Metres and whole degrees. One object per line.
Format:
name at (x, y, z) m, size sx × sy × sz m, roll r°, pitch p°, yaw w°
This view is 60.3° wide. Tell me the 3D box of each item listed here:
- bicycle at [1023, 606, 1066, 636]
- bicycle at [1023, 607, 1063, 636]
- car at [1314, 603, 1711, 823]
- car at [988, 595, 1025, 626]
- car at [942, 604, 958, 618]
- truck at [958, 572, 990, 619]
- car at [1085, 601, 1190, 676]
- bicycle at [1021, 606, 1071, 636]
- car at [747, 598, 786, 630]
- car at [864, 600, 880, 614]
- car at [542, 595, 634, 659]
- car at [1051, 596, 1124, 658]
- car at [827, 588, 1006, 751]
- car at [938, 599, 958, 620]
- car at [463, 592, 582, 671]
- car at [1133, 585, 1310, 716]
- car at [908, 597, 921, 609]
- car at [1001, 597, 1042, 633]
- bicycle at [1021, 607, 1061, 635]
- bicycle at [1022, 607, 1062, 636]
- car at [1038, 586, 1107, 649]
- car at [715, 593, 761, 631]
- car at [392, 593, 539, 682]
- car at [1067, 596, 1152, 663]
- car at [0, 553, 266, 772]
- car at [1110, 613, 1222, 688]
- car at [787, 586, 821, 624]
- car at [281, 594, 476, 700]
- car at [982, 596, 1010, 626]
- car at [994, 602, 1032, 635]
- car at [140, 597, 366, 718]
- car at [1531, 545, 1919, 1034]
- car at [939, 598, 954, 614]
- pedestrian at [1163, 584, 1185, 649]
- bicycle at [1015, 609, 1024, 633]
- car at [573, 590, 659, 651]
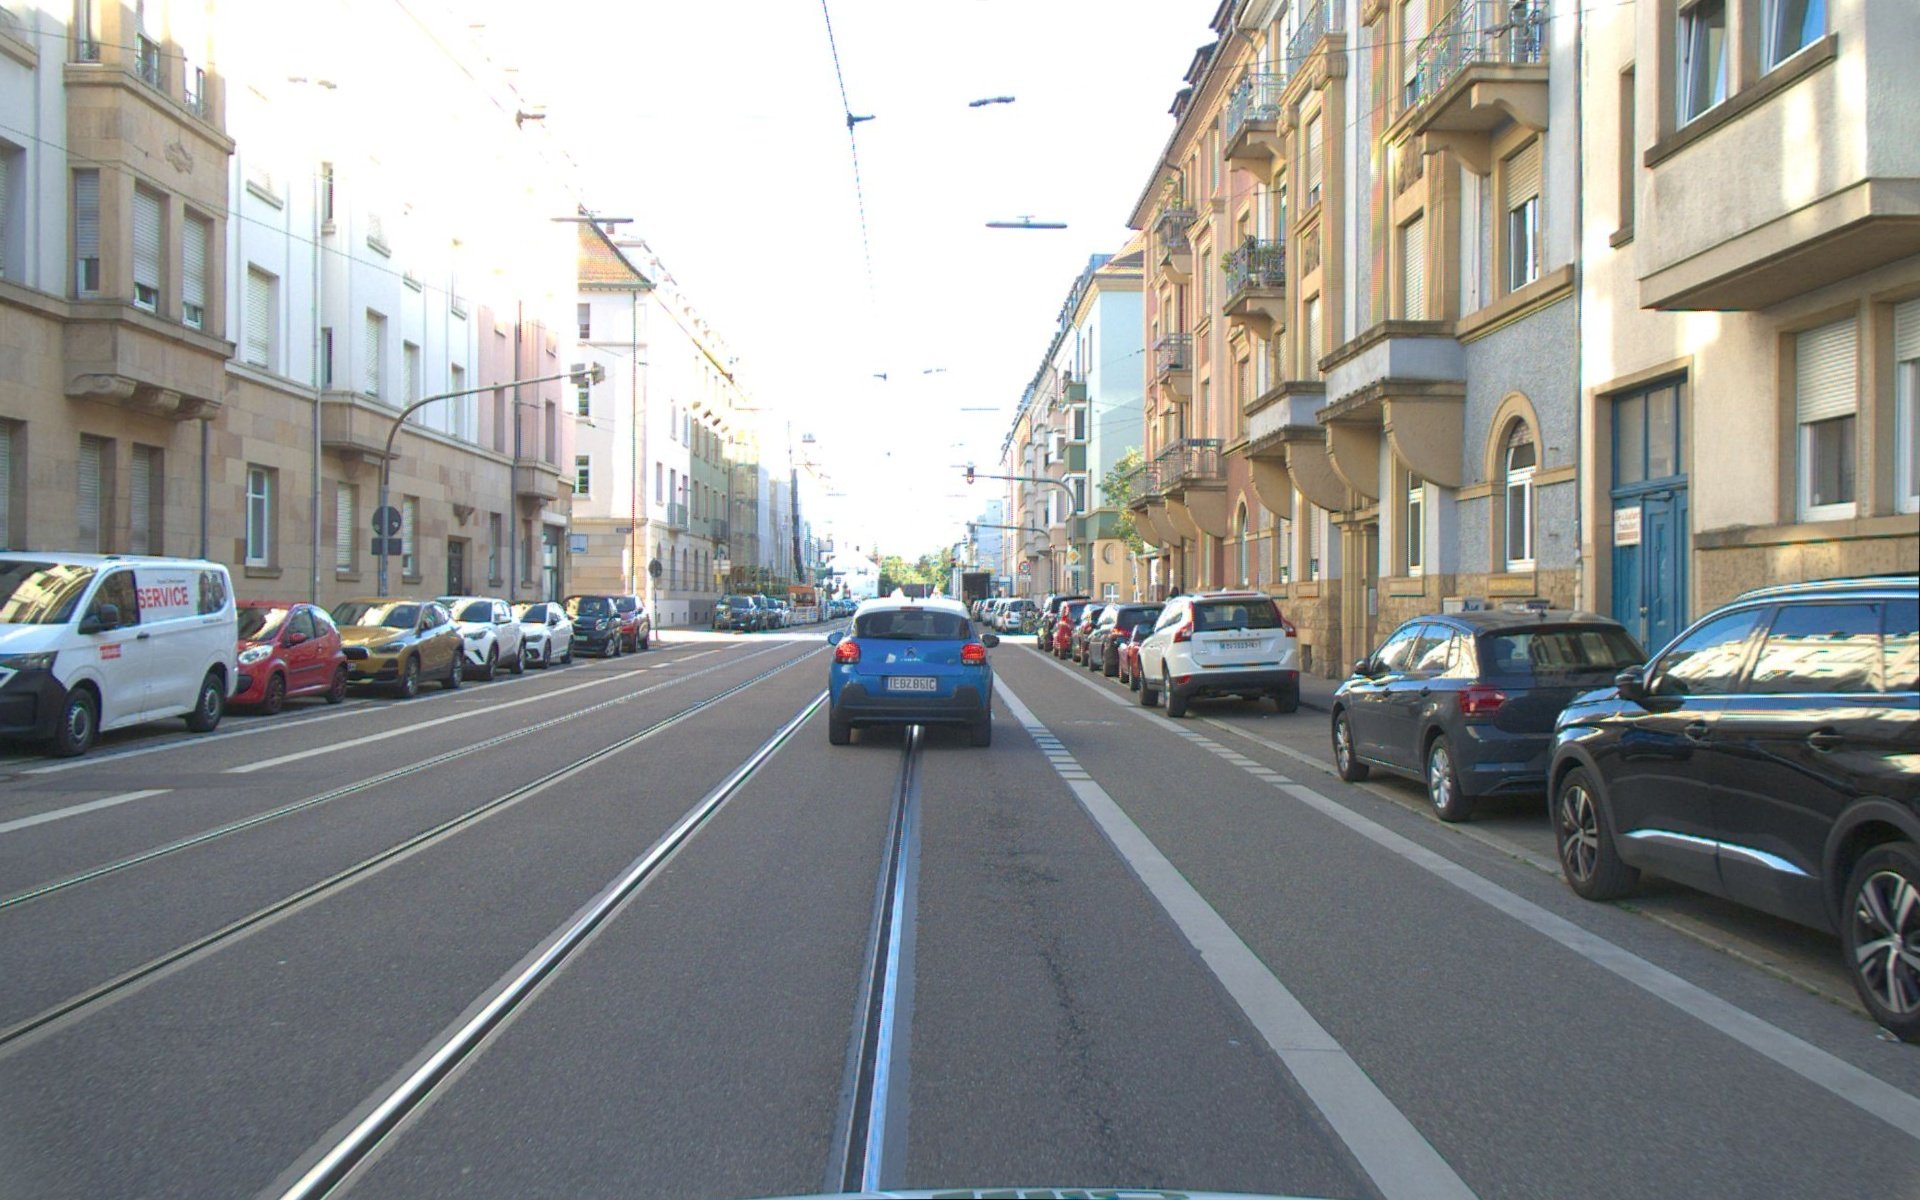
bicycle at (3.657, 0.922, 71.709) m, size 1.805 × 1.174 × 0.469 m, roll -3°, pitch 0°, yaw -1°
bicycle at (3.652, 0.935, 72.946) m, size 1.688 × 1.174 × 0.469 m, roll -3°, pitch 0°, yaw -1°
car at (4.155, 0.766, 13.146) m, size 1.702 × 1.467 × 4.031 m, roll 0°, pitch 0°, yaw -2°
car at (2.672, 0.591, 95.546) m, size 1.622 × 1.782 × 4.598 m, roll 0°, pitch 0°, yaw -5°
car at (-1.083, 1.189, 182.946) m, size 1.729 × 1.513 × 4.031 m, roll 0°, pitch 0°, yaw -1°
truck at (1.247, -0.373, 149.736) m, size 2.794 × 4.154 × 11.270 m, roll 0°, pitch 0°, yaw 0°
car at (3.729, 0.774, 35.464) m, size 1.621 × 1.509 × 4.472 m, roll 0°, pitch 0°, yaw -2°
bicycle at (3.688, 0.886, 71.018) m, size 2.044 × 1.174 × 0.848 m, roll -3°, pitch 0°, yaw -1°
car at (-10.534, 0.742, 90.248) m, size 1.748 × 1.655 × 4.606 m, roll 2°, pitch 0°, yaw -3°
car at (-10.529, 0.801, 198.381) m, size 1.789 × 1.660 × 4.489 m, roll 0°, pitch 0°, yaw -1°
car at (-9.799, 0.699, 43.775) m, size 1.747 × 1.580 × 3.018 m, roll 2°, pitch 0°, yaw -1°
car at (3.441, 0.701, 45.145) m, size 1.717 × 1.622 × 3.729 m, roll 0°, pitch 0°, yaw 0°
car at (-0.451, 0.679, 18.185) m, size 1.700 × 1.534 × 3.991 m, roll 2°, pitch 0°, yaw -1°
car at (-1.155, 0.891, 155.245) m, size 1.784 × 1.927 × 3.999 m, roll 1°, pitch 0°, yaw -1°
car at (-9.939, 0.680, 37.881) m, size 1.748 × 1.650 × 4.177 m, roll 2°, pitch 0°, yaw -3°
car at (3.670, 0.660, 23.995) m, size 1.805 × 1.720 × 4.504 m, roll 0°, pitch 0°, yaw -1°
car at (-6.475, 0.482, 236.761) m, size 1.789 × 1.660 × 4.489 m, roll 0°, pitch 0°, yaw -1°
car at (2.903, 0.692, 78.863) m, size 1.747 × 1.660 × 3.999 m, roll 0°, pitch 0°, yaw -1°
bicycle at (3.661, 0.950, 74.795) m, size 1.688 × 1.174 × 0.469 m, roll -3°, pitch 0°, yaw -1°
bicycle at (3.627, 0.950, 73.405) m, size 1.688 × 1.174 × 0.469 m, roll -3°, pitch 0°, yaw -1°
car at (3.457, 0.528, 51.631) m, size 1.718 × 1.766 × 4.506 m, roll -3°, pitch 0°, yaw -1°
car at (-10.530, 0.556, 78.666) m, size 1.748 × 1.720 × 4.665 m, roll 2°, pitch 0°, yaw -3°
car at (-9.673, 0.685, 32.675) m, size 1.736 × 1.574 × 4.363 m, roll 2°, pitch 0°, yaw -3°
car at (3.607, 0.686, 40.557) m, size 1.621 × 1.539 × 4.473 m, roll 0°, pitch 0°, yaw -1°
car at (-9.443, 0.540, 17.656) m, size 1.933 × 1.983 × 5.250 m, roll 2°, pitch 0°, yaw -2°
car at (3.763, 0.887, 30.830) m, size 1.620 × 1.271 × 4.505 m, roll 0°, pitch 0°, yaw 1°
car at (-10.694, 0.326, 113.672) m, size 2.102 × 2.519 × 4.977 m, roll 0°, pitch 0°, yaw -3°
car at (-9.461, 0.709, 27.286) m, size 1.747 × 1.550 × 4.358 m, roll 2°, pitch 0°, yaw -2°
car at (2.333, 0.711, 107.925) m, size 1.695 × 1.859 × 4.685 m, roll 0°, pitch 0°, yaw -1°
car at (2.687, 0.922, 84.499) m, size 1.747 × 1.603 × 4.325 m, roll 0°, pitch 0°, yaw -1°
car at (-9.706, 0.732, 22.994) m, size 1.570 × 1.498 × 3.645 m, roll 2°, pitch 0°, yaw -1°
car at (4.246, 0.661, 7.419) m, size 1.821 × 1.695 × 4.561 m, roll 0°, pitch 0°, yaw 0°
car at (-1.918, 0.888, 241.906) m, size 2.174 × 2.324 × 4.083 m, roll 0°, pitch 0°, yaw -1°
pedestrian at (5.648, 0.426, 43.700) m, size 0.502 × 1.716 × 0.448 m, roll 0°, pitch 0°, yaw -2°
bicycle at (2.653, 0.942, 73.953) m, size 0.345 × 1.063 × 1.728 m, roll 0°, pitch 0°, yaw 1°
car at (-9.976, 0.558, 48.233) m, size 1.748 × 1.634 × 4.394 m, roll 2°, pitch 0°, yaw -3°
